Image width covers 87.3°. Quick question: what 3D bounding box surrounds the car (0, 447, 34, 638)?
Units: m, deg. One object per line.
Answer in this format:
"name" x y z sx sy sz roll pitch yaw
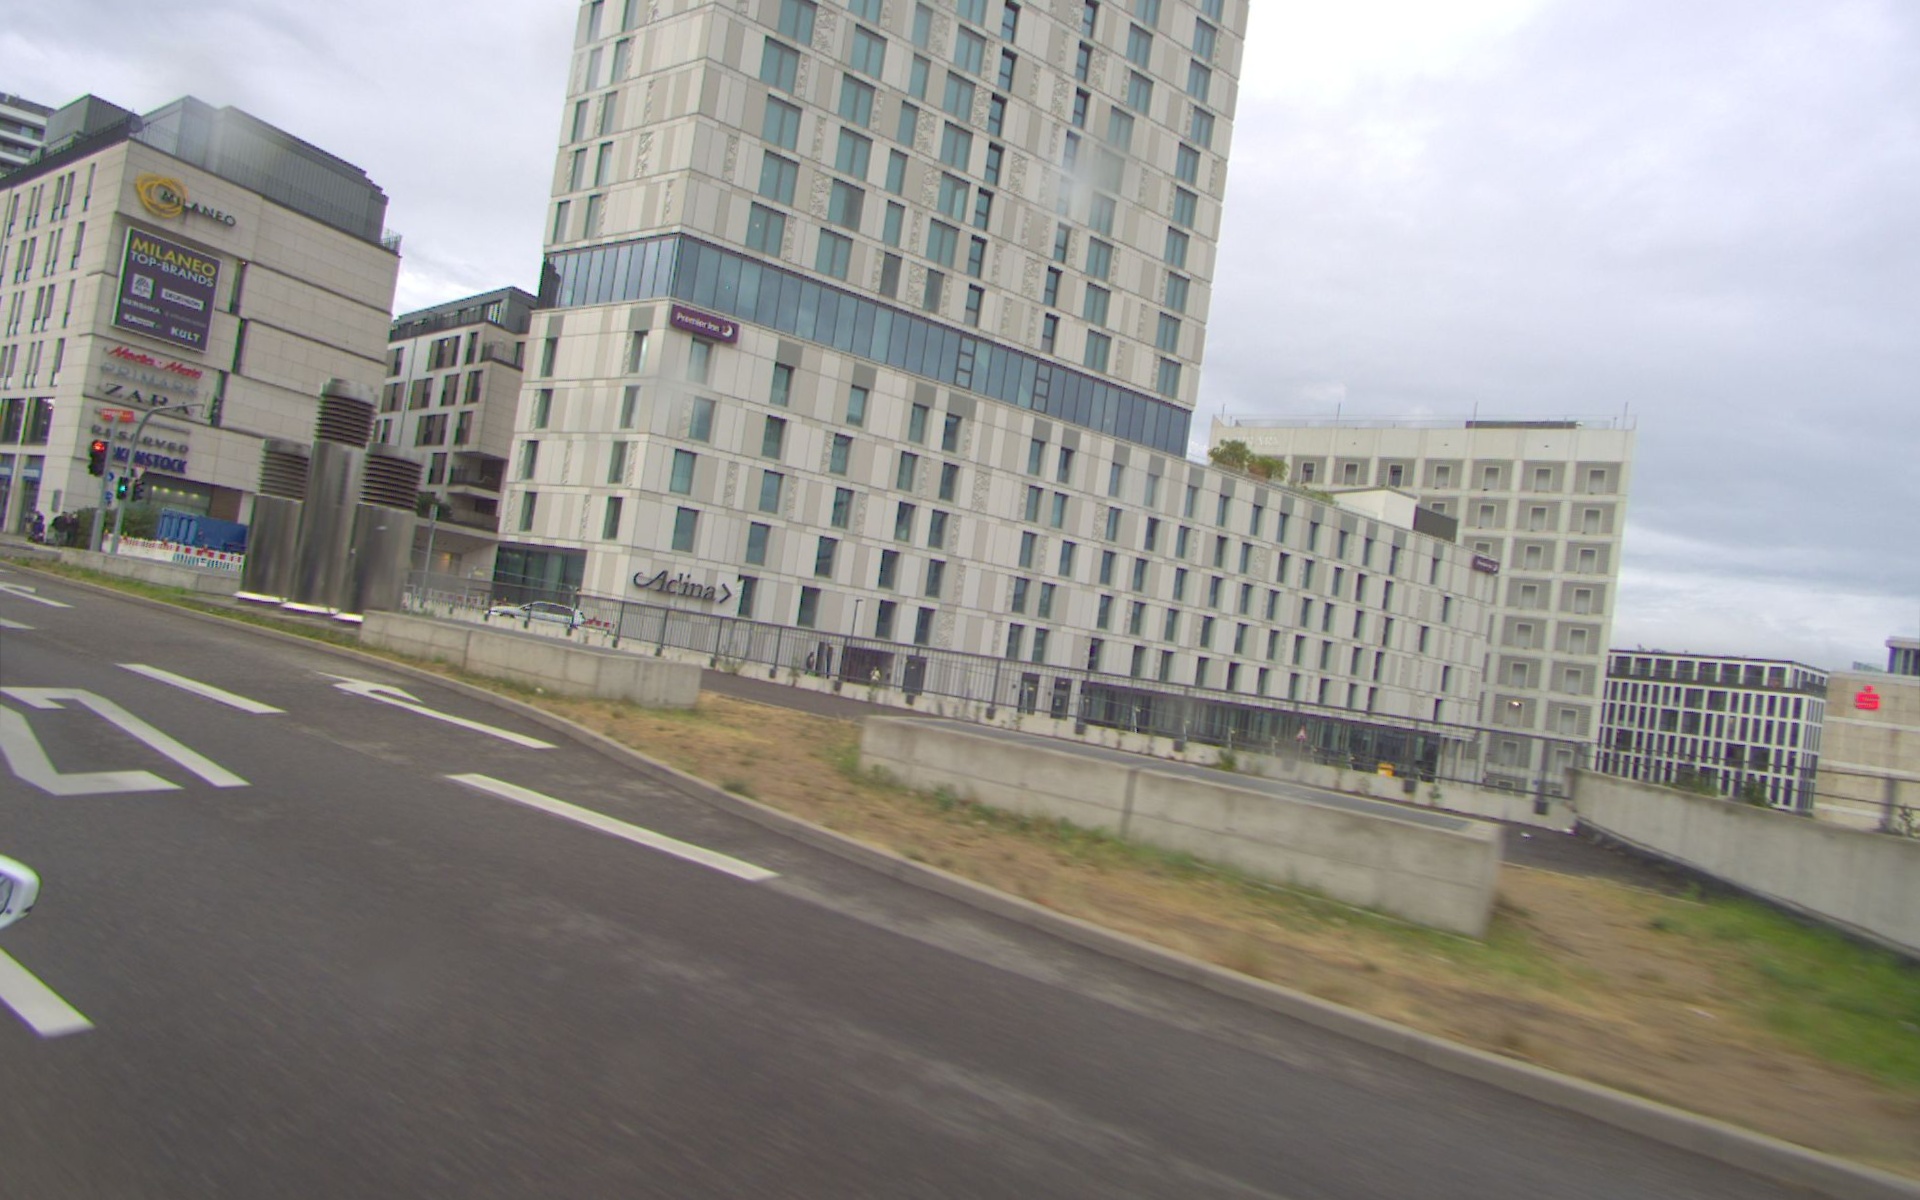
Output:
"car" -12.114 -0.884 10.726 4.959 1.906 2.034 7 1 33

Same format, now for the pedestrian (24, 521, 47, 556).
"pedestrian" -46.923 -3.120 51.069 0.590 1.661 0.583 8 -2 -33

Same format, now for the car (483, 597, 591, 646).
"car" -18.292 0.943 43.523 3.962 1.448 1.731 12 -4 -30

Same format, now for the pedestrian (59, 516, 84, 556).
"pedestrian" -42.268 -3.020 47.855 0.584 1.800 0.441 6 -2 5

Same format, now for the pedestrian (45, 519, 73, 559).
"pedestrian" -41.249 -2.789 46.054 0.810 1.691 0.622 6 -2 32

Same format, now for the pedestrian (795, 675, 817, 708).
"pedestrian" -8.503 5.062 55.598 0.785 1.721 0.801 6 -2 6
